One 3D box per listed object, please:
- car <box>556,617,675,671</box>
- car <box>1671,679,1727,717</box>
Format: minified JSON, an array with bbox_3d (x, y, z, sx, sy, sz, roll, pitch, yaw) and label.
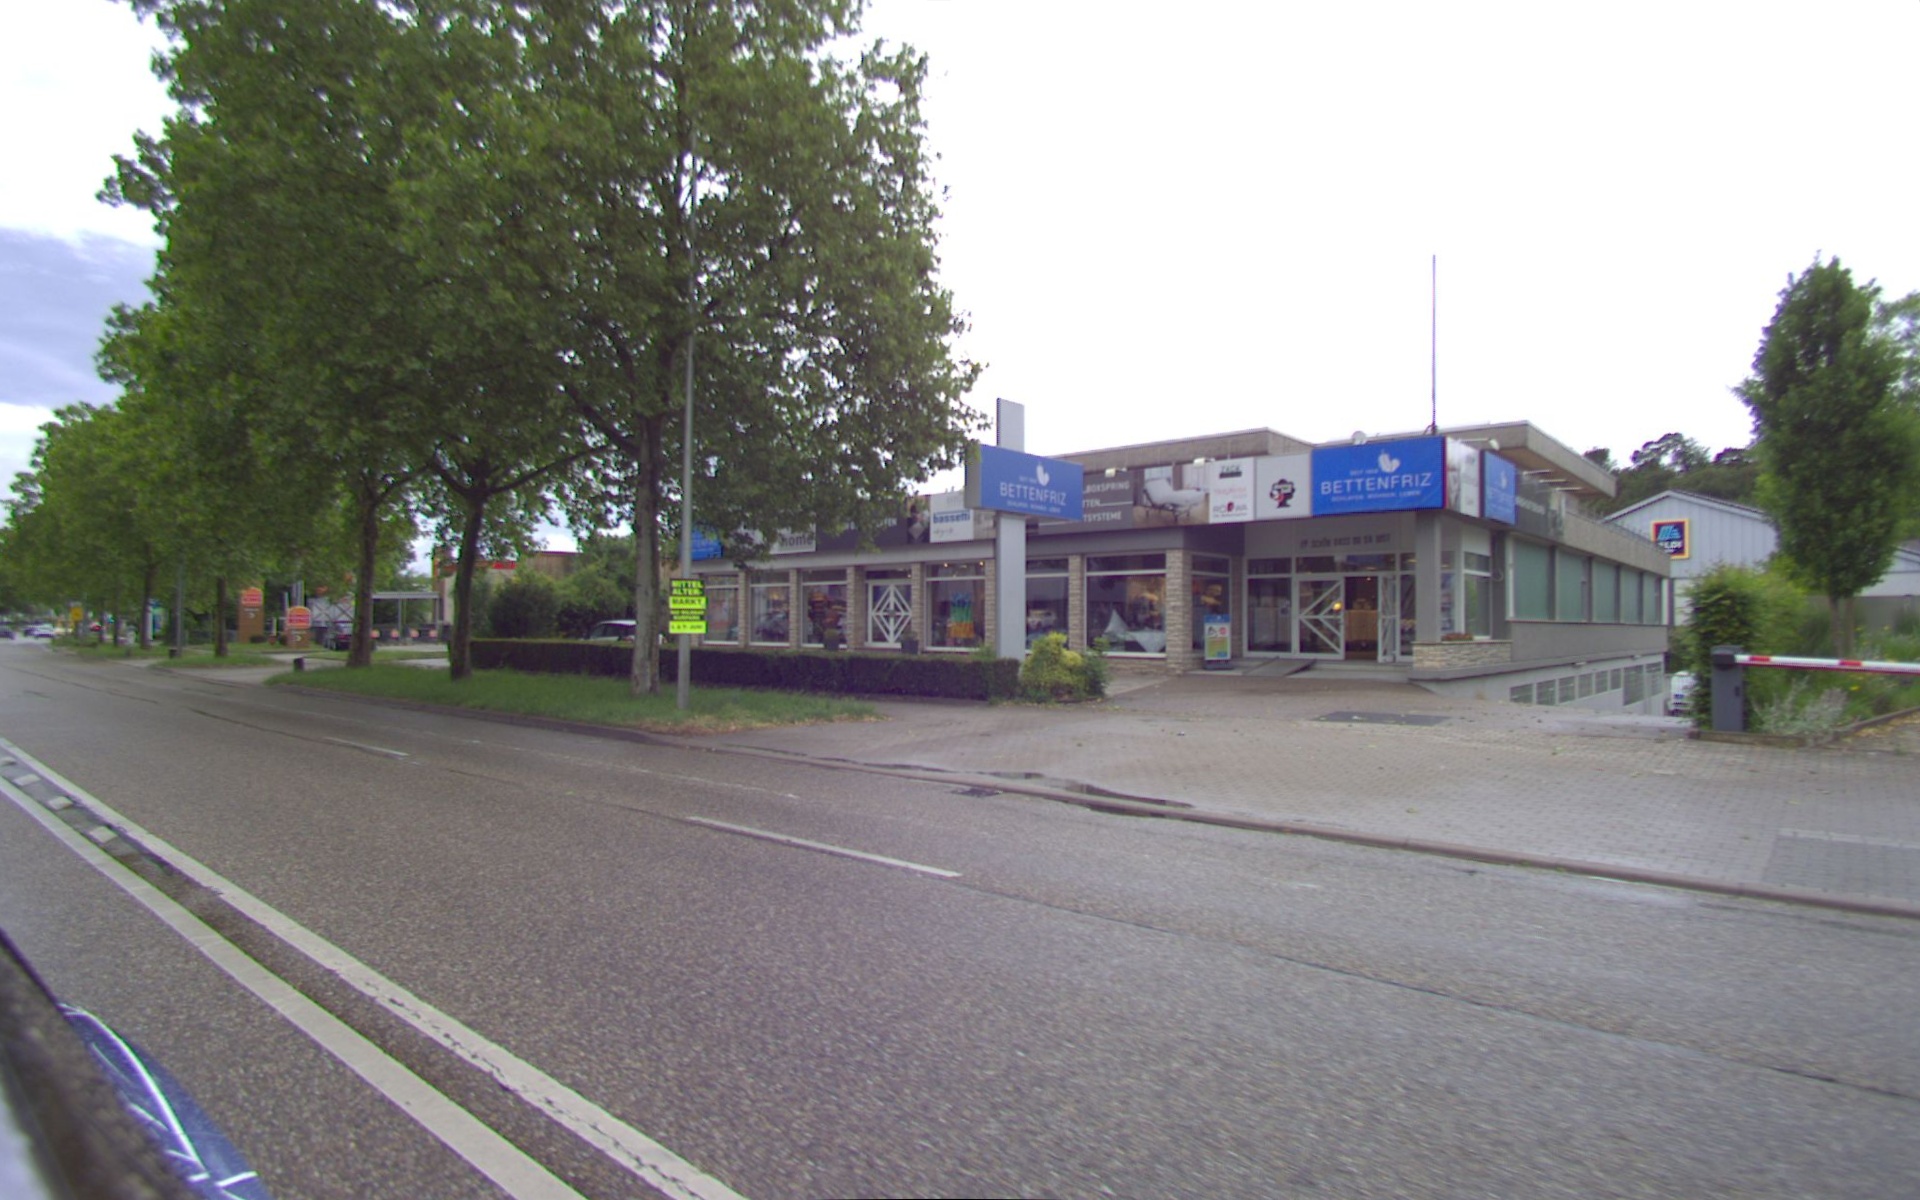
[{"bbox_3d":[-10.715,1.344,31.326,3.999,1.545,1.723,-1,-4,42],"label":"car"},{"bbox_3d":[40.002,5.262,54.767,2.000,1.852,3.944,-2,-3,42],"label":"car"}]
